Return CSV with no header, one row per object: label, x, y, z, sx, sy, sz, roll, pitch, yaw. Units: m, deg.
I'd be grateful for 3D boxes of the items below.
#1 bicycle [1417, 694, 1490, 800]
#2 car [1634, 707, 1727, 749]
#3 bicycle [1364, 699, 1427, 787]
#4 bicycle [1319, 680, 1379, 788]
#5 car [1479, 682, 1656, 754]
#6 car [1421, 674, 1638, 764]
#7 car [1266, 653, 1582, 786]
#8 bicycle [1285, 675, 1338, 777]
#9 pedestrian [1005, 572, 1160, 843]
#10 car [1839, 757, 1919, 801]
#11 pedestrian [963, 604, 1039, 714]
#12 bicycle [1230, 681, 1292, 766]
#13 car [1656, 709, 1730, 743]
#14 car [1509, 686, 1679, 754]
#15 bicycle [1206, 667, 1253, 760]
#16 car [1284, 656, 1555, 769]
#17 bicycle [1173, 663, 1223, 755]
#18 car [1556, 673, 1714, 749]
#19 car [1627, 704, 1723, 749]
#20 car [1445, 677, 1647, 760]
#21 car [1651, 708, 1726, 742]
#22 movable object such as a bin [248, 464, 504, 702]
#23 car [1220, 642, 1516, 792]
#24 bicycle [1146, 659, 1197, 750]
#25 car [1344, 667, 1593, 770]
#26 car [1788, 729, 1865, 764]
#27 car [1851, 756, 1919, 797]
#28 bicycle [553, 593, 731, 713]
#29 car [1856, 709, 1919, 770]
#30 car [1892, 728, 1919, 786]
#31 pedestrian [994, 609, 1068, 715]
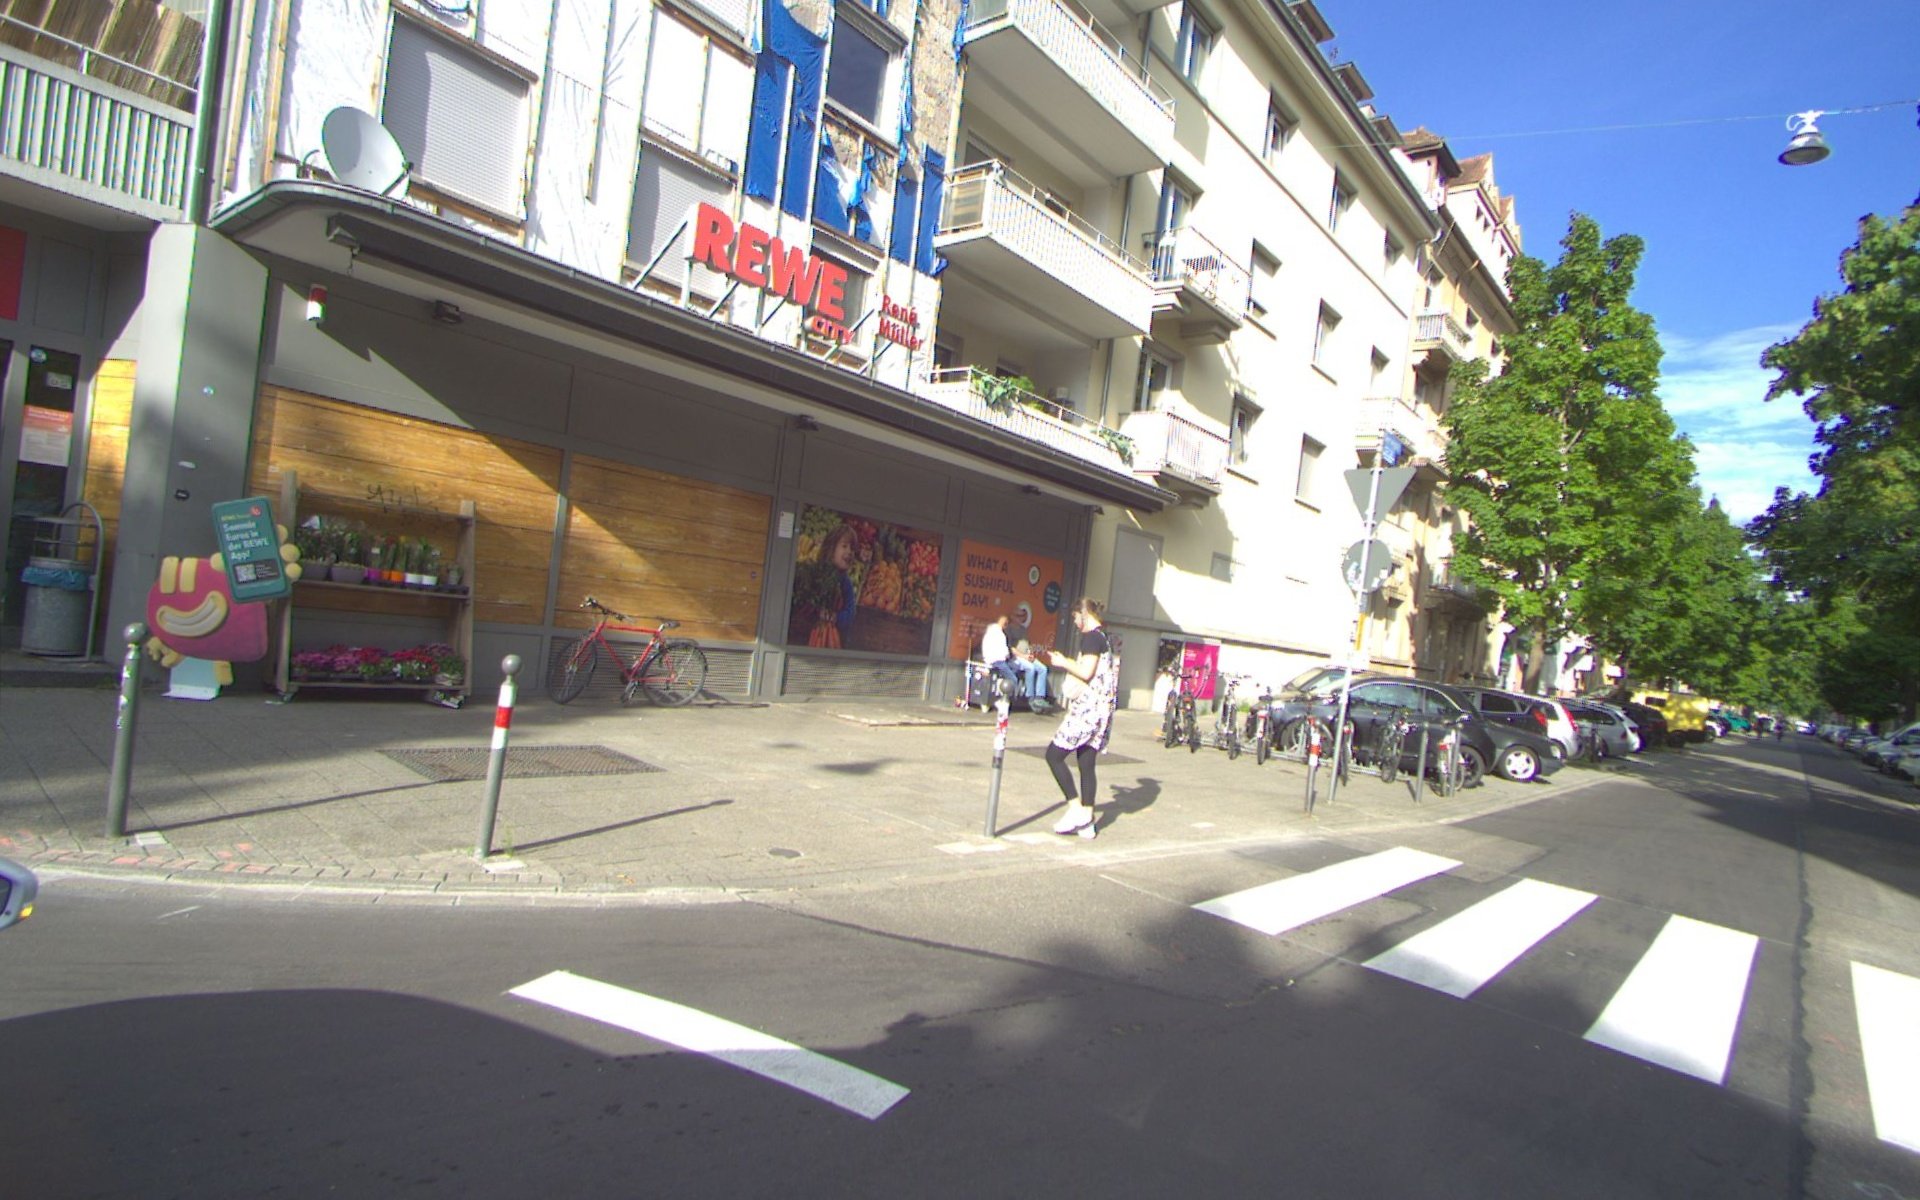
bicycle,6.575,1.921,13.485,0.405,1.190,1.854,8,0,16
car,41.247,7.295,57.686,3.776,1.658,1.736,8,0,15
bicycle,5.963,1.931,13.822,0.483,1.014,1.424,8,0,16
bicycle,5.026,1.687,13.058,0.405,1.190,1.854,8,0,16
car,20.006,3.856,33.338,4.542,1.513,1.752,8,0,13
car,14.949,3.101,26.664,4.542,1.513,1.752,8,0,13
car,8.082,2.051,17.938,4.578,1.472,1.958,9,0,6
bicycle,4.747,1.664,13.654,0.405,1.190,1.854,8,0,16
pedestrian,0.902,0.750,7.286,0.826,1.775,0.614,7,1,15
car,50.457,9.763,54.557,3.943,1.752,1.823,7,-2,40
pedestrian,0.614,0.880,15.001,0.657,1.524,0.751,7,1,35
bicycle,4.103,1.644,13.658,0.406,1.031,1.500,8,0,27
car,52.561,9.005,72.199,3.779,1.658,1.735,8,0,23
car,21.985,4.149,35.089,4.542,1.513,1.752,8,0,13
bicycle,3.756,1.538,13.957,0.413,1.100,1.698,8,1,17
car,9.186,2.225,20.422,4.542,1.451,1.751,9,0,6
bicycle,3.348,1.484,14.072,0.413,1.100,1.698,8,1,17
car,27.765,4.535,41.558,4.719,2.247,2.150,8,0,10
car,38.565,6.803,54.376,3.779,1.658,1.735,8,0,23
car,16.748,3.359,28.984,4.542,1.513,1.752,8,0,13
car,50.764,8.682,70.167,3.779,1.658,1.735,8,0,23
movable object such as a bin,-4.858,-0.089,8.447,0.680,1.777,1.543,10,2,38
car,6.222,1.747,15.849,3.924,1.473,1.810,10,2,14
bicycle,2.985,1.434,14.113,0.413,1.100,1.698,8,1,17
car,11.228,2.587,22.550,4.542,1.451,1.752,8,0,13
car,61.620,10.389,71.623,3.943,1.752,1.823,7,-2,40
car,52.977,10.017,56.674,3.943,1.752,1.823,7,-2,40
bicycle,-3.228,0.559,10.283,1.524,1.046,0.576,8,1,-40
car,40.854,6.058,41.619,5.406,2.227,1.992,6,-2,42
car,34.322,5.505,33.635,4.394,1.855,1.929,3,-2,38
pedestrian,1.100,0.964,15.559,0.742,1.524,0.665,7,1,38
